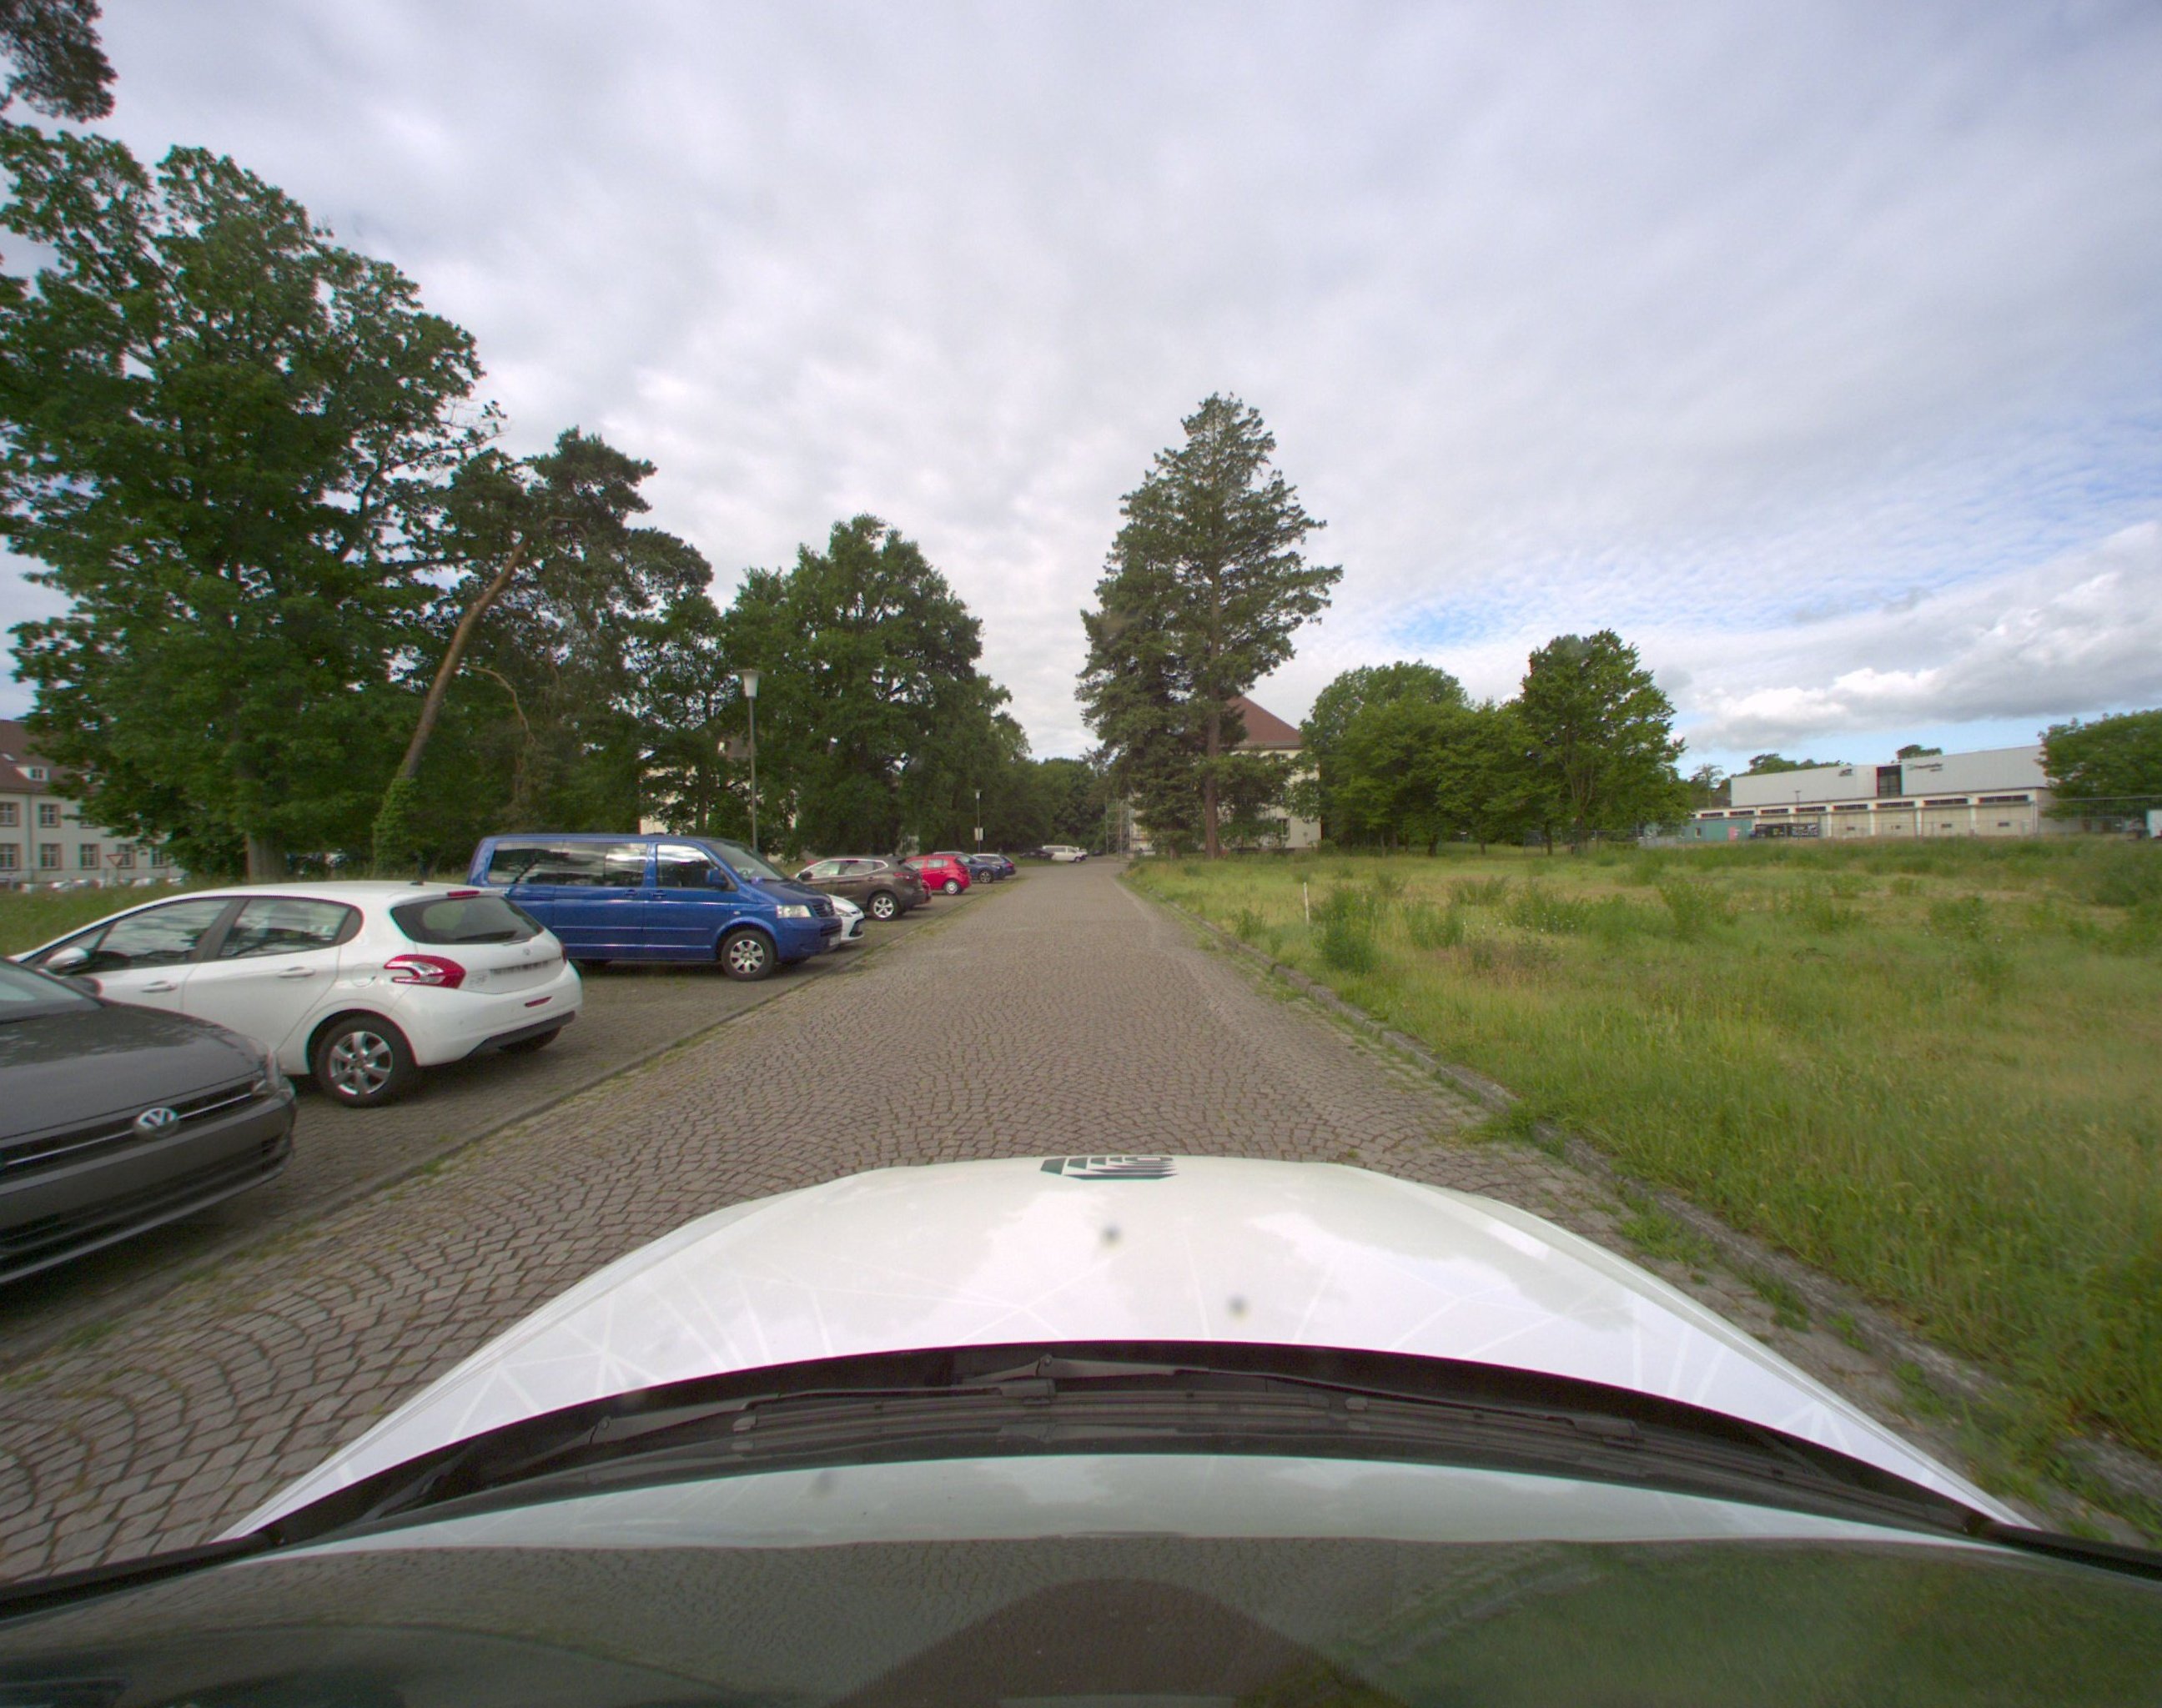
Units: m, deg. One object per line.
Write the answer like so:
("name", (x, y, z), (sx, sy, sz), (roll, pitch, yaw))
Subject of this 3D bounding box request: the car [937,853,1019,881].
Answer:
("car", (-5.728, 0.731, 45.787), (4.287, 1.461, 1.975), (-1, 0, 1))

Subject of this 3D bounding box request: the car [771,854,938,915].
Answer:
("car", (-6.340, 0.840, 23.181), (4.155, 1.510, 1.906), (-2, 0, -2))

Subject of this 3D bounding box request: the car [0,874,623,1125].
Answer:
("car", (-6.109, 0.991, 6.271), (4.054, 1.497, 1.846), (-2, 0, 0))

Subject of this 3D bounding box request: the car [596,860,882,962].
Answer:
("car", (-5.763, 0.927, 14.157), (4.156, 1.510, 1.780), (-2, 0, -3))

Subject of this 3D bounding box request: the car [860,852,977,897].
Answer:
("car", (-6.069, 0.750, 30.815), (4.044, 1.525, 1.903), (-2, 0, -2))

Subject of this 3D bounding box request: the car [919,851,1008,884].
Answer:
("car", (-5.861, 0.661, 41.104), (4.217, 1.577, 1.886), (-1, 0, -2))

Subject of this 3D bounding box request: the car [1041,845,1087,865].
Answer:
("car", (-1.978, 0.063, 94.653), (5.222, 2.168, 1.998), (-2, 0, -3))

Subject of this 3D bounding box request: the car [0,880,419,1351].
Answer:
("car", (-5.658, 0.957, 3.438), (4.151, 1.491, 1.865), (-2, 0, 1))

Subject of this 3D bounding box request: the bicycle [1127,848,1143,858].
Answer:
("bicycle", (7.433, -0.157, 111.995), (2.232, 1.254, 0.778), (-2, 0, 1))

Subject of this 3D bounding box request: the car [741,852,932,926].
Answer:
("car", (-6.001, 0.822, 20.445), (4.157, 1.622, 1.984), (-2, 0, -3))

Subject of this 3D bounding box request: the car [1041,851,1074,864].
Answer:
("car", (-2.830, 0.390, 97.234), (3.780, 1.395, 1.998), (-2, 0, -3))

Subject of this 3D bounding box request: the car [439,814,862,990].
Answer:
("car", (-5.821, 0.606, 11.567), (4.768, 2.122, 2.114), (-2, 0, -2))

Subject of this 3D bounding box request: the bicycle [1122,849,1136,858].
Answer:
("bicycle", (7.769, -0.079, 132.706), (2.232, 1.254, 0.699), (-2, 0, 1))

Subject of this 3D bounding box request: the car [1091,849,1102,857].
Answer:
("car", (2.967, -0.187, 161.004), (1.946, 1.521, 3.997), (-2, 0, -2))

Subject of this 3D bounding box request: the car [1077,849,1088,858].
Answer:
("car", (0.299, -0.094, 160.671), (2.113, 1.521, 3.998), (-2, 0, -1))
